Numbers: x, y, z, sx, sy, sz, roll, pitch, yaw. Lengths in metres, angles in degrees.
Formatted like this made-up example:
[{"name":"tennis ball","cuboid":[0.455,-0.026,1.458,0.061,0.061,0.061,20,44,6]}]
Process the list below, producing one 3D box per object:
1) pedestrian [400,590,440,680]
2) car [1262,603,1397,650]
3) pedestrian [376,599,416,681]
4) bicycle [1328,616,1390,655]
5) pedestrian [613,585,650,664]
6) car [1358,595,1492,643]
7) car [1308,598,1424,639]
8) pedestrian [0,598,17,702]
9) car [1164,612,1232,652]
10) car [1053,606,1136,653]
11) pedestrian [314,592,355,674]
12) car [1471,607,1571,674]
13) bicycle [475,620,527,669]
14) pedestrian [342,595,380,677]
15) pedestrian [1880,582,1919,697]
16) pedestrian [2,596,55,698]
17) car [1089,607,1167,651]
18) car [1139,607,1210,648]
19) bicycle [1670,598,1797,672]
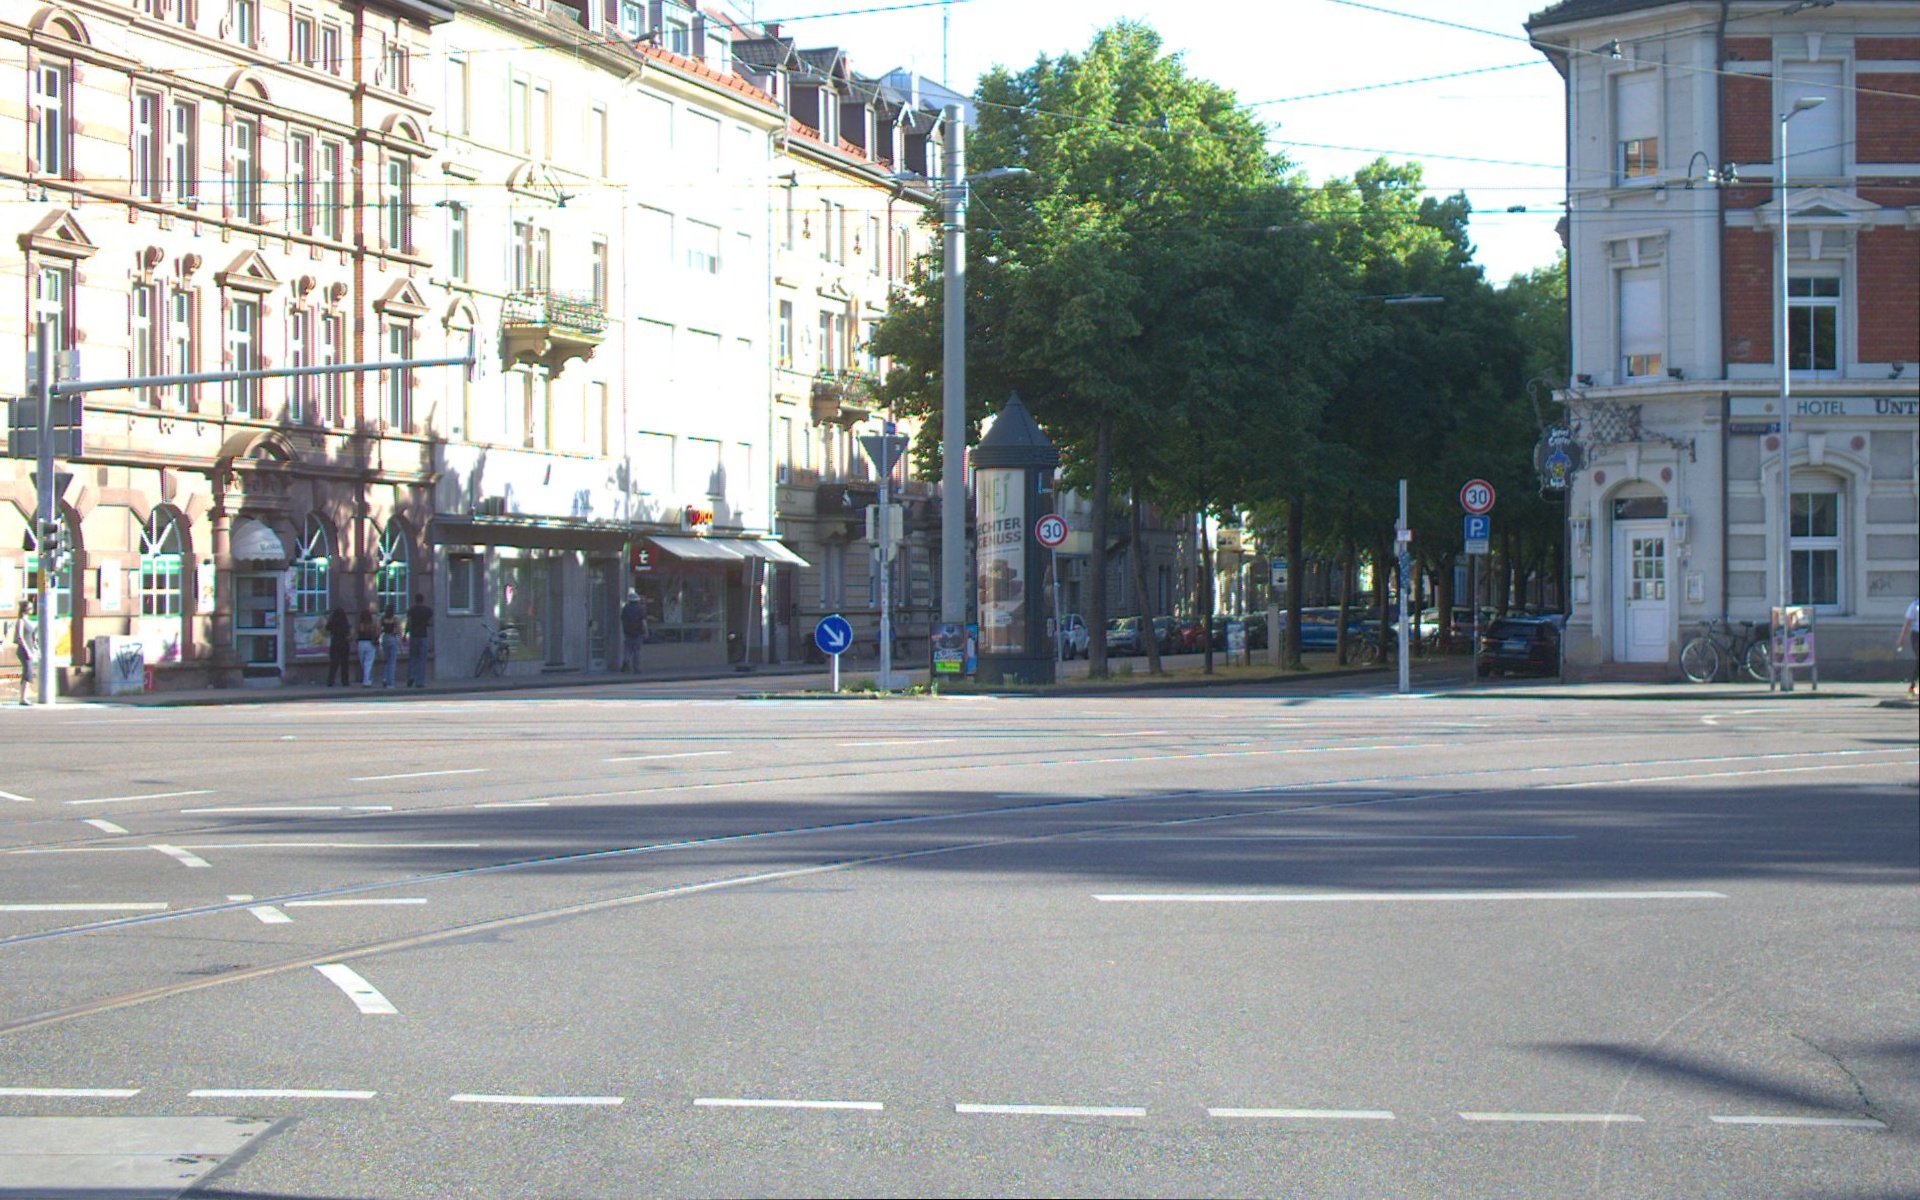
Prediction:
[{"name":"pedestrian","cuboid":[-10.981,0.709,69.905,0.580,1.830,0.632,0,0,16]},{"name":"car","cuboid":[12.293,0.873,114.315,3.993,1.540,1.997,0,0,28]},{"name":"pedestrian","cuboid":[-11.348,0.793,69.161,0.551,1.636,0.632,0,0,18]},{"name":"bicycle","cuboid":[11.358,1.008,97.899,0.582,1.063,1.949,0,0,-37]},{"name":"pedestrian","cuboid":[-7.959,0.601,83.319,0.682,1.902,0.632,0,0,16]},{"name":"car","cuboid":[15.609,0.635,115.342,3.994,1.540,1.997,0,0,31]},{"name":"car","cuboid":[15.727,0.712,133.158,3.993,1.540,1.997,0,0,28]},{"name":"pedestrian","cuboid":[-15.383,0.793,54.421,0.675,1.636,0.578,0,0,13]},{"name":"car","cuboid":[9.375,1.254,135.178,1.995,1.492,4.031,0,0,14]},{"name":"car","cuboid":[4.556,0.982,116.006,1.995,1.492,4.031,0,0,14]},{"name":"pedestrian","cuboid":[-12.589,0.660,69.181,0.627,1.636,0.537,0,0,18]},{"name":"car","cuboid":[13.258,0.944,81.065,1.995,1.492,4.031,0,0,14]},{"name":"bicycle","cuboid":[-10.441,1.010,78.191,0.495,1.063,1.768,0,0,16]},{"name":"pedestrian","cuboid":[-12.019,0.723,68.997,0.551,1.636,0.537,0,0,17]},{"name":"pedestrian","cuboid":[14.048,0.567,50.238,0.715,1.664,0.939,0,0,-31]},{"name":"pedestrian","cuboid":[-15.107,0.755,55.771,0.631,1.636,0.552,0,0,13]},{"name":"car","cuboid":[5.946,1.010,121.243,1.995,1.492,4.031,0,0,14]},{"name":"car","cuboid":[8.174,1.031,130.462,1.995,1.492,4.031,0,0,14]},{"name":"bicycle","cuboid":[12.554,0.567,55.828,1.961,1.187,0.546,0,0,5]}]
